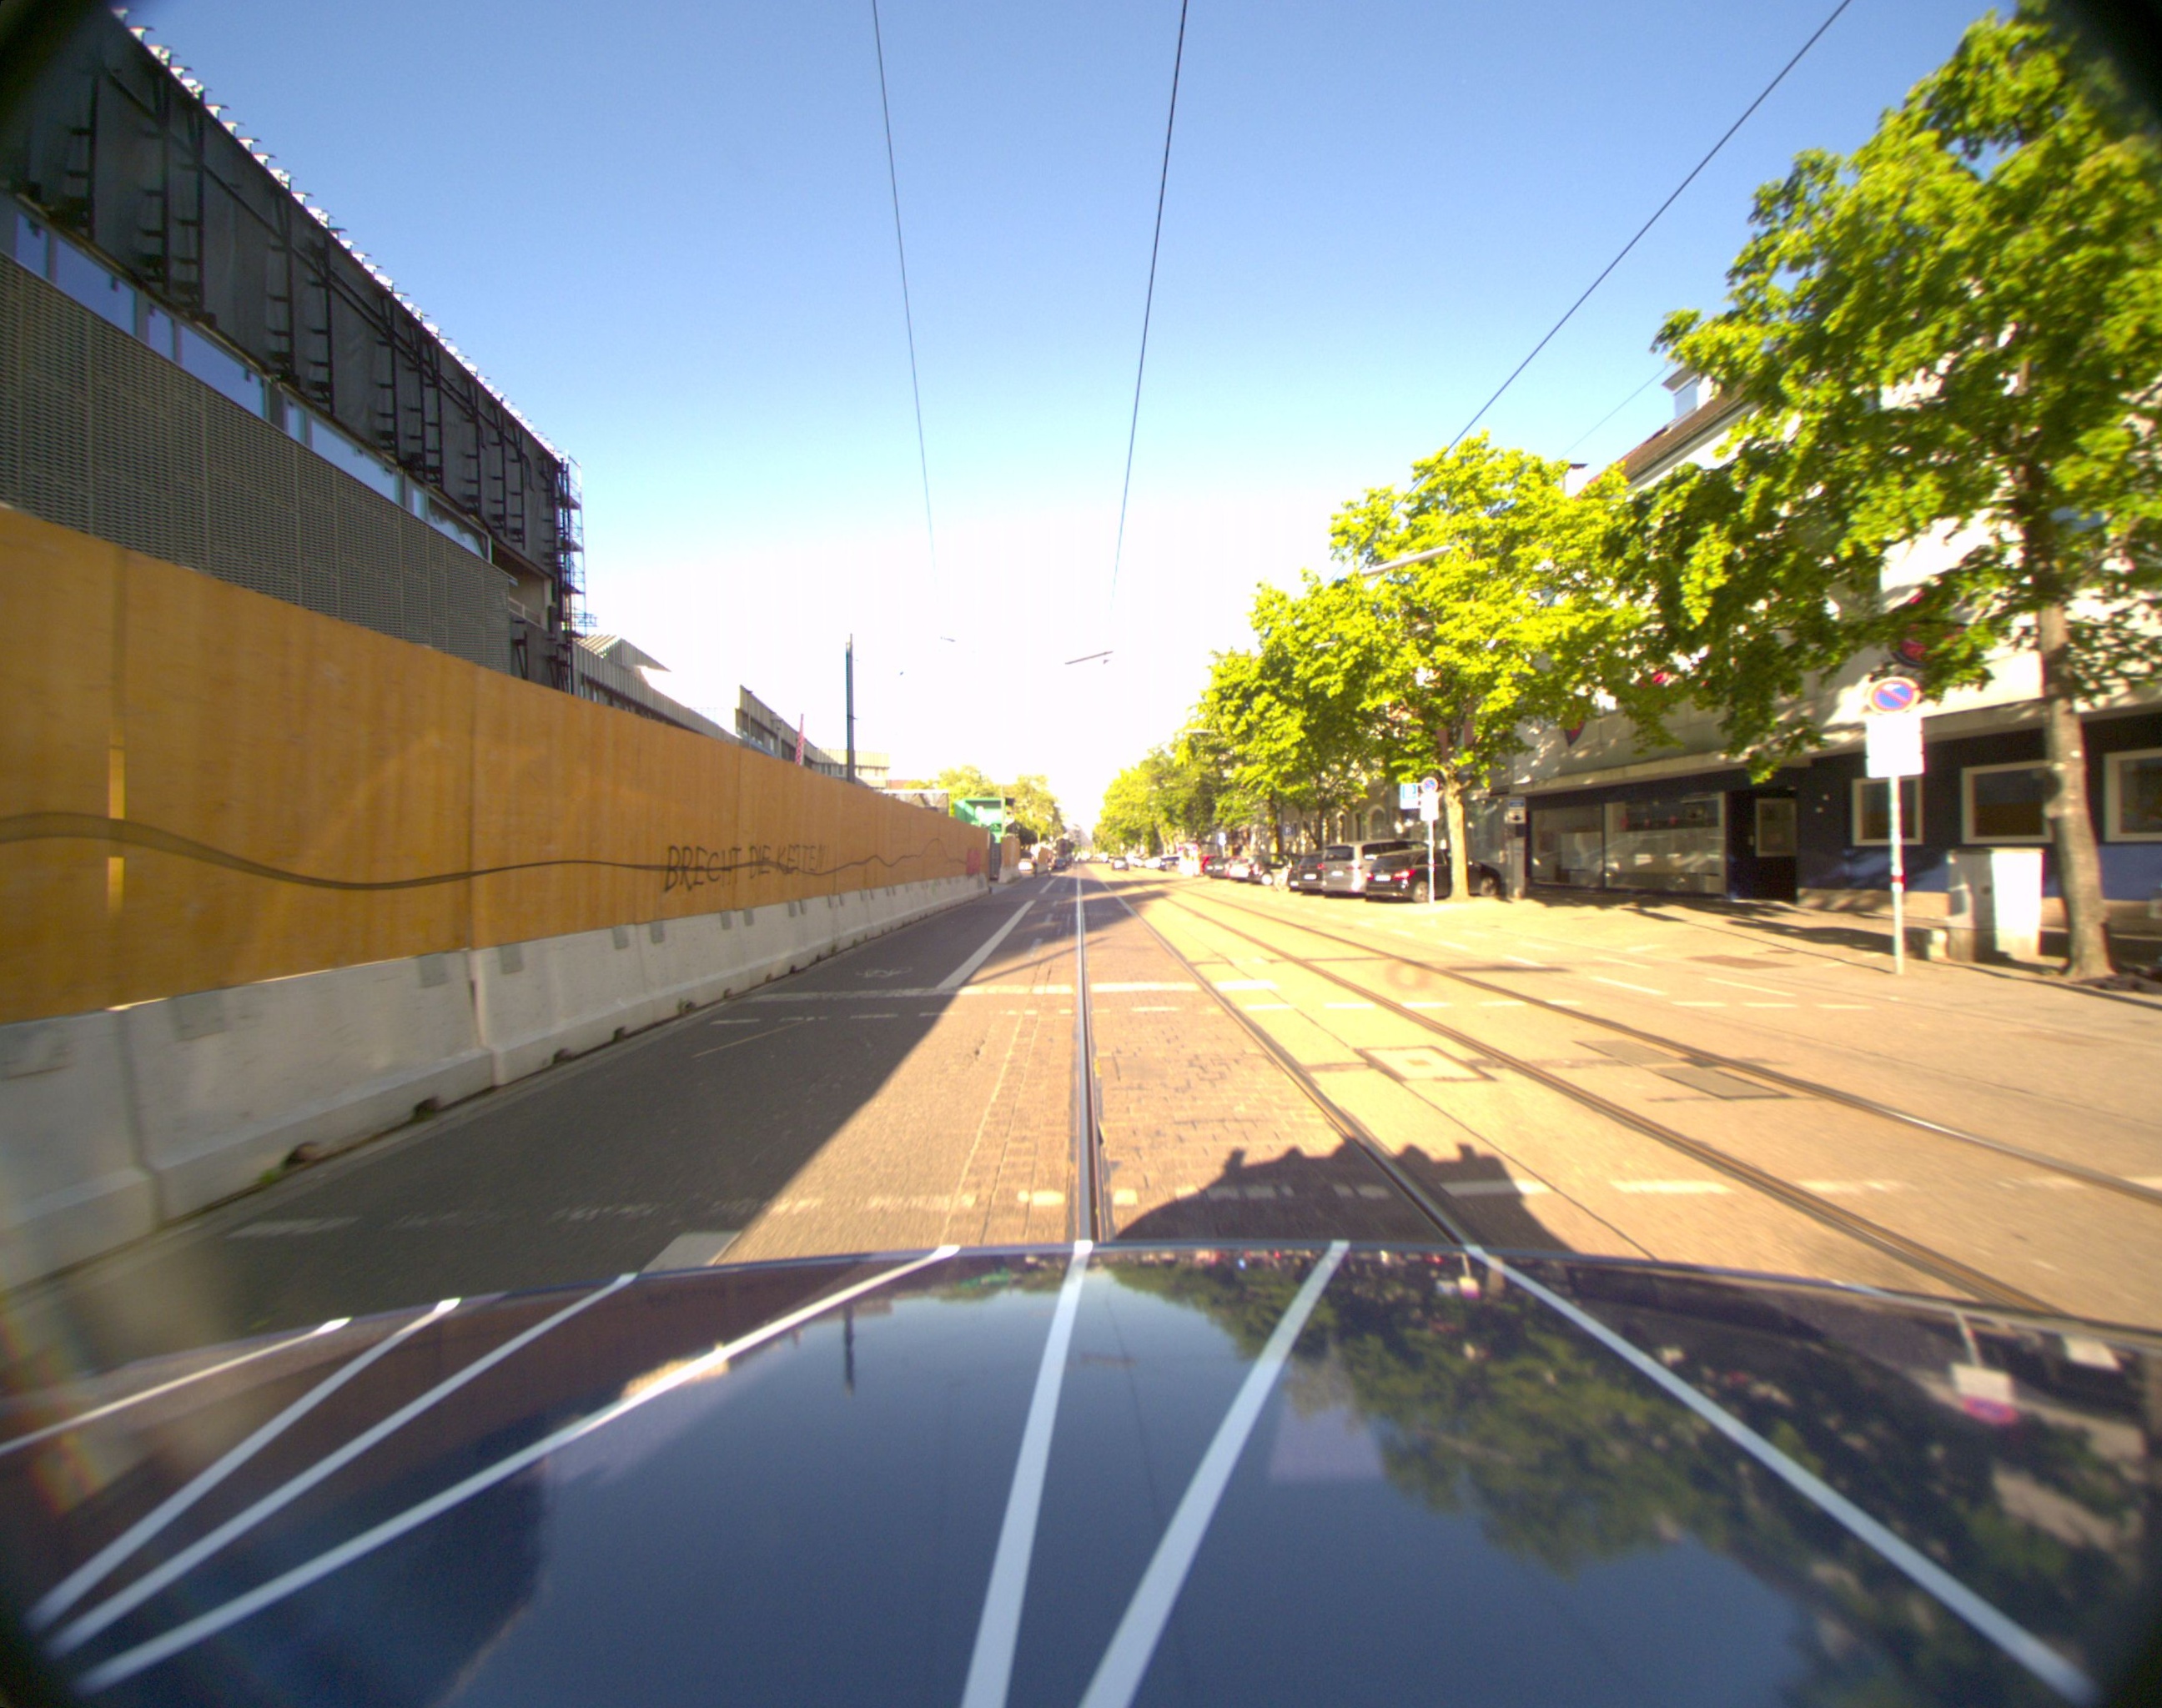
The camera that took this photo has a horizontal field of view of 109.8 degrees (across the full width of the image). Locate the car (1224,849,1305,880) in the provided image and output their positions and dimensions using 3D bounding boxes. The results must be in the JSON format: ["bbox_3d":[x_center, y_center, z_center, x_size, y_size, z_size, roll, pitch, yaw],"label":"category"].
[{"bbox_3d":[10.290,0.578,42.593,4.122,1.503,1.837,-3,0,-26],"label":"car"}]

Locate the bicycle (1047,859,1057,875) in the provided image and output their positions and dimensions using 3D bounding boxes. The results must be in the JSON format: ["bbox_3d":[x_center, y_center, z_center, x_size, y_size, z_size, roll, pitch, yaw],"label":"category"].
[{"bbox_3d":[-2.266,0.997,59.348,0.669,1.148,2.276,-2,0,-1],"label":"bicycle"}]

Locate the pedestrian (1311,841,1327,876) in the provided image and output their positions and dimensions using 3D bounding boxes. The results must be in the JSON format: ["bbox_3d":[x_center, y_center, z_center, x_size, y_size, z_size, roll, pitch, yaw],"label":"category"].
[{"bbox_3d":[13.679,0.261,43.692,0.733,2.002,0.556,-1,1,1],"label":"pedestrian"}]

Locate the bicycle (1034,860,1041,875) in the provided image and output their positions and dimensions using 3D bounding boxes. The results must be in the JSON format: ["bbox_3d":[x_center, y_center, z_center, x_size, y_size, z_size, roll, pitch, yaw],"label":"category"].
[{"bbox_3d":[-3.389,1.050,59.295,0.559,1.120,2.275,0,0,-3],"label":"bicycle"}]

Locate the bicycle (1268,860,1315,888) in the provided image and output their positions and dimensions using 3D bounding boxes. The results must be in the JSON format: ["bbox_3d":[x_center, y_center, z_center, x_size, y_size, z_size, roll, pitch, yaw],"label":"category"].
[{"bbox_3d":[9.063,0.851,32.681,1.973,1.138,0.492,-1,1,-18],"label":"bicycle"}]

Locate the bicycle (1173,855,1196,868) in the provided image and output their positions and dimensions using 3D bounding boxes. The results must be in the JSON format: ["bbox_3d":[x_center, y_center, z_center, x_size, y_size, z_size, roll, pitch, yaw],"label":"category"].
[{"bbox_3d":[9.694,0.739,71.057,1.972,1.073,0.568,-4,0,2],"label":"bicycle"}]

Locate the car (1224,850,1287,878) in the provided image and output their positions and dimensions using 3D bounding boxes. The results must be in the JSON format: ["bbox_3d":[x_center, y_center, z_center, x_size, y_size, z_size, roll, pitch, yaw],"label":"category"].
[{"bbox_3d":[10.427,0.599,45.471,3.378,1.484,1.610,-3,0,-28],"label":"car"}]

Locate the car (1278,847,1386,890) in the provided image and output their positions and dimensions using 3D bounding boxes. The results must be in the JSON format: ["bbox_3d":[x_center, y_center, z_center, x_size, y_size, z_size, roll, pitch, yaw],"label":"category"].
[{"bbox_3d":[10.278,0.562,31.129,3.872,1.468,1.840,-3,1,-22],"label":"car"}]

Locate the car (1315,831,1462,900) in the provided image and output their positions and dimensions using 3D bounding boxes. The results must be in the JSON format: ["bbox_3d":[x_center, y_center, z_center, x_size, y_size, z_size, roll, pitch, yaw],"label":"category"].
[{"bbox_3d":[10.296,0.350,25.486,4.372,1.975,1.946,-3,1,-21],"label":"car"}]

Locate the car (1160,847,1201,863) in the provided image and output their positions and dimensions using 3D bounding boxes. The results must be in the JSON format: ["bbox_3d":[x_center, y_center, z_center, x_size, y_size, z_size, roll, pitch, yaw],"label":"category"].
[{"bbox_3d":[10.350,0.121,79.132,3.905,1.599,1.571,-1,0,-18],"label":"car"}]

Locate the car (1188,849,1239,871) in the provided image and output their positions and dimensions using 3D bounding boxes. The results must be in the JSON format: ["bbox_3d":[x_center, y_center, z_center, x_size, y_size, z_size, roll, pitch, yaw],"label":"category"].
[{"bbox_3d":[10.556,0.490,60.583,3.629,1.544,1.665,-3,-1,-26],"label":"car"}]

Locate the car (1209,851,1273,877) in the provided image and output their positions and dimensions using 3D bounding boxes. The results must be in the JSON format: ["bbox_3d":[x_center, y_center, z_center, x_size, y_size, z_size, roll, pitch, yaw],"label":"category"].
[{"bbox_3d":[10.214,0.613,48.410,3.689,1.462,1.749,-3,1,-29],"label":"car"}]

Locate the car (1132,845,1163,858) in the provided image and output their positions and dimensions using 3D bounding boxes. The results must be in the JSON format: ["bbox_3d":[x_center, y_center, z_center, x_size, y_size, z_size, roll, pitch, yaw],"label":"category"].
[{"bbox_3d":[9.313,-0.330,106.305,4.003,1.667,1.700,-2,0,-20],"label":"car"}]

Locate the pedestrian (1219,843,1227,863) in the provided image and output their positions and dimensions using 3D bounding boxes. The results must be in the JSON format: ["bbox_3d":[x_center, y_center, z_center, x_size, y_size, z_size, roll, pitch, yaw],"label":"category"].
[{"bbox_3d":[13.439,-0.103,72.132,0.645,1.827,0.624,-1,1,1],"label":"pedestrian"}]

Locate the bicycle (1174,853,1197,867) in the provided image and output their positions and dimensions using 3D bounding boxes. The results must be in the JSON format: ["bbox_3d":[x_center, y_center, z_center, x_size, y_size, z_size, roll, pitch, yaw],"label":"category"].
[{"bbox_3d":[9.594,0.566,69.728,2.007,1.081,0.567,-5,0,2],"label":"bicycle"}]

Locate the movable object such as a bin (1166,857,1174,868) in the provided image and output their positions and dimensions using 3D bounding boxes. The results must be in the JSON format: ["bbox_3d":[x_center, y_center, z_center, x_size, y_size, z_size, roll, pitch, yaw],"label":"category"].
[{"bbox_3d":[8.574,0.827,73.260,0.685,1.071,0.710,-4,0,1],"label":"movable object such as a bin"}]

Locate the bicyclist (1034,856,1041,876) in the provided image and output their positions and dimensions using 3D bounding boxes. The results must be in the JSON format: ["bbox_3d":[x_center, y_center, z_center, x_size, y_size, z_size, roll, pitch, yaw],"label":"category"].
[{"bbox_3d":[-3.412,0.952,59.833,0.557,1.603,0.576,0,1,-2],"label":"bicyclist"}]

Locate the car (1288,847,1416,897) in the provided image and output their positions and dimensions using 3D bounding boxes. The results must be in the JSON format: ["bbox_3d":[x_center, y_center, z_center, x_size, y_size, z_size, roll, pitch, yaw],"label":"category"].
[{"bbox_3d":[9.954,0.618,27.919,4.253,1.675,1.808,-1,0,-21],"label":"car"}]

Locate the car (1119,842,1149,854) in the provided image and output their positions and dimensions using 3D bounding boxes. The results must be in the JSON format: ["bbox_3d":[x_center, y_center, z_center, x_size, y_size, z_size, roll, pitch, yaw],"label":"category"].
[{"bbox_3d":[9.253,-0.977,133.029,4.942,2.002,2.072,-1,0,-13],"label":"car"}]

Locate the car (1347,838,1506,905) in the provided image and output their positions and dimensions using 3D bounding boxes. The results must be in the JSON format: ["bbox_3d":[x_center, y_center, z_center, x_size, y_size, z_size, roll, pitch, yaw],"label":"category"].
[{"bbox_3d":[10.394,0.486,22.870,4.301,1.657,1.908,-4,1,-24],"label":"car"}]

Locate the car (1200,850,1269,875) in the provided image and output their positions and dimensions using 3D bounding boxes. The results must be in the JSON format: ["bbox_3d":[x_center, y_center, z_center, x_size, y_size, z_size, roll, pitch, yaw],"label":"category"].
[{"bbox_3d":[10.299,0.572,51.007,4.208,1.482,1.939,-3,0,-27],"label":"car"}]

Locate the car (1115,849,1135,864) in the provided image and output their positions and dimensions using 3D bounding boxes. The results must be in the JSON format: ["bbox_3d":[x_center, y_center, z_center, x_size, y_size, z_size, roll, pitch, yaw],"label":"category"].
[{"bbox_3d":[4.889,0.286,85.617,1.933,1.620,4.248,-1,0,-1],"label":"car"}]

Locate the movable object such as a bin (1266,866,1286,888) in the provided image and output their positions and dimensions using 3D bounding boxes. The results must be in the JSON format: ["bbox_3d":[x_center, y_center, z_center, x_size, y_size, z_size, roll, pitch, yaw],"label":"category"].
[{"bbox_3d":[8.516,1.005,33.130,0.577,0.908,0.575,-3,0,-16],"label":"movable object such as a bin"}]

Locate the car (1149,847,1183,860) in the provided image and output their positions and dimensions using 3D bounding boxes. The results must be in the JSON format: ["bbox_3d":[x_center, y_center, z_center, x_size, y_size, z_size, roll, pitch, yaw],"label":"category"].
[{"bbox_3d":[10.448,-0.076,93.690,3.651,1.520,1.883,-1,0,-20],"label":"car"}]

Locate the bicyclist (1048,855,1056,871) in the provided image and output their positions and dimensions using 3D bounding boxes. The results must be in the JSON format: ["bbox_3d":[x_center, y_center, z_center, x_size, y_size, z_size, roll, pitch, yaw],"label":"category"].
[{"bbox_3d":[-2.256,0.674,59.300,0.653,1.230,0.353,0,1,-2],"label":"bicyclist"}]

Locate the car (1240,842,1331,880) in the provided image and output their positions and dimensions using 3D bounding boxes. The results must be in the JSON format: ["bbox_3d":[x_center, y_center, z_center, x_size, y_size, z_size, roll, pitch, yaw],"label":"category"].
[{"bbox_3d":[10.495,0.365,39.193,4.115,1.668,1.840,-4,1,-2],"label":"car"}]
